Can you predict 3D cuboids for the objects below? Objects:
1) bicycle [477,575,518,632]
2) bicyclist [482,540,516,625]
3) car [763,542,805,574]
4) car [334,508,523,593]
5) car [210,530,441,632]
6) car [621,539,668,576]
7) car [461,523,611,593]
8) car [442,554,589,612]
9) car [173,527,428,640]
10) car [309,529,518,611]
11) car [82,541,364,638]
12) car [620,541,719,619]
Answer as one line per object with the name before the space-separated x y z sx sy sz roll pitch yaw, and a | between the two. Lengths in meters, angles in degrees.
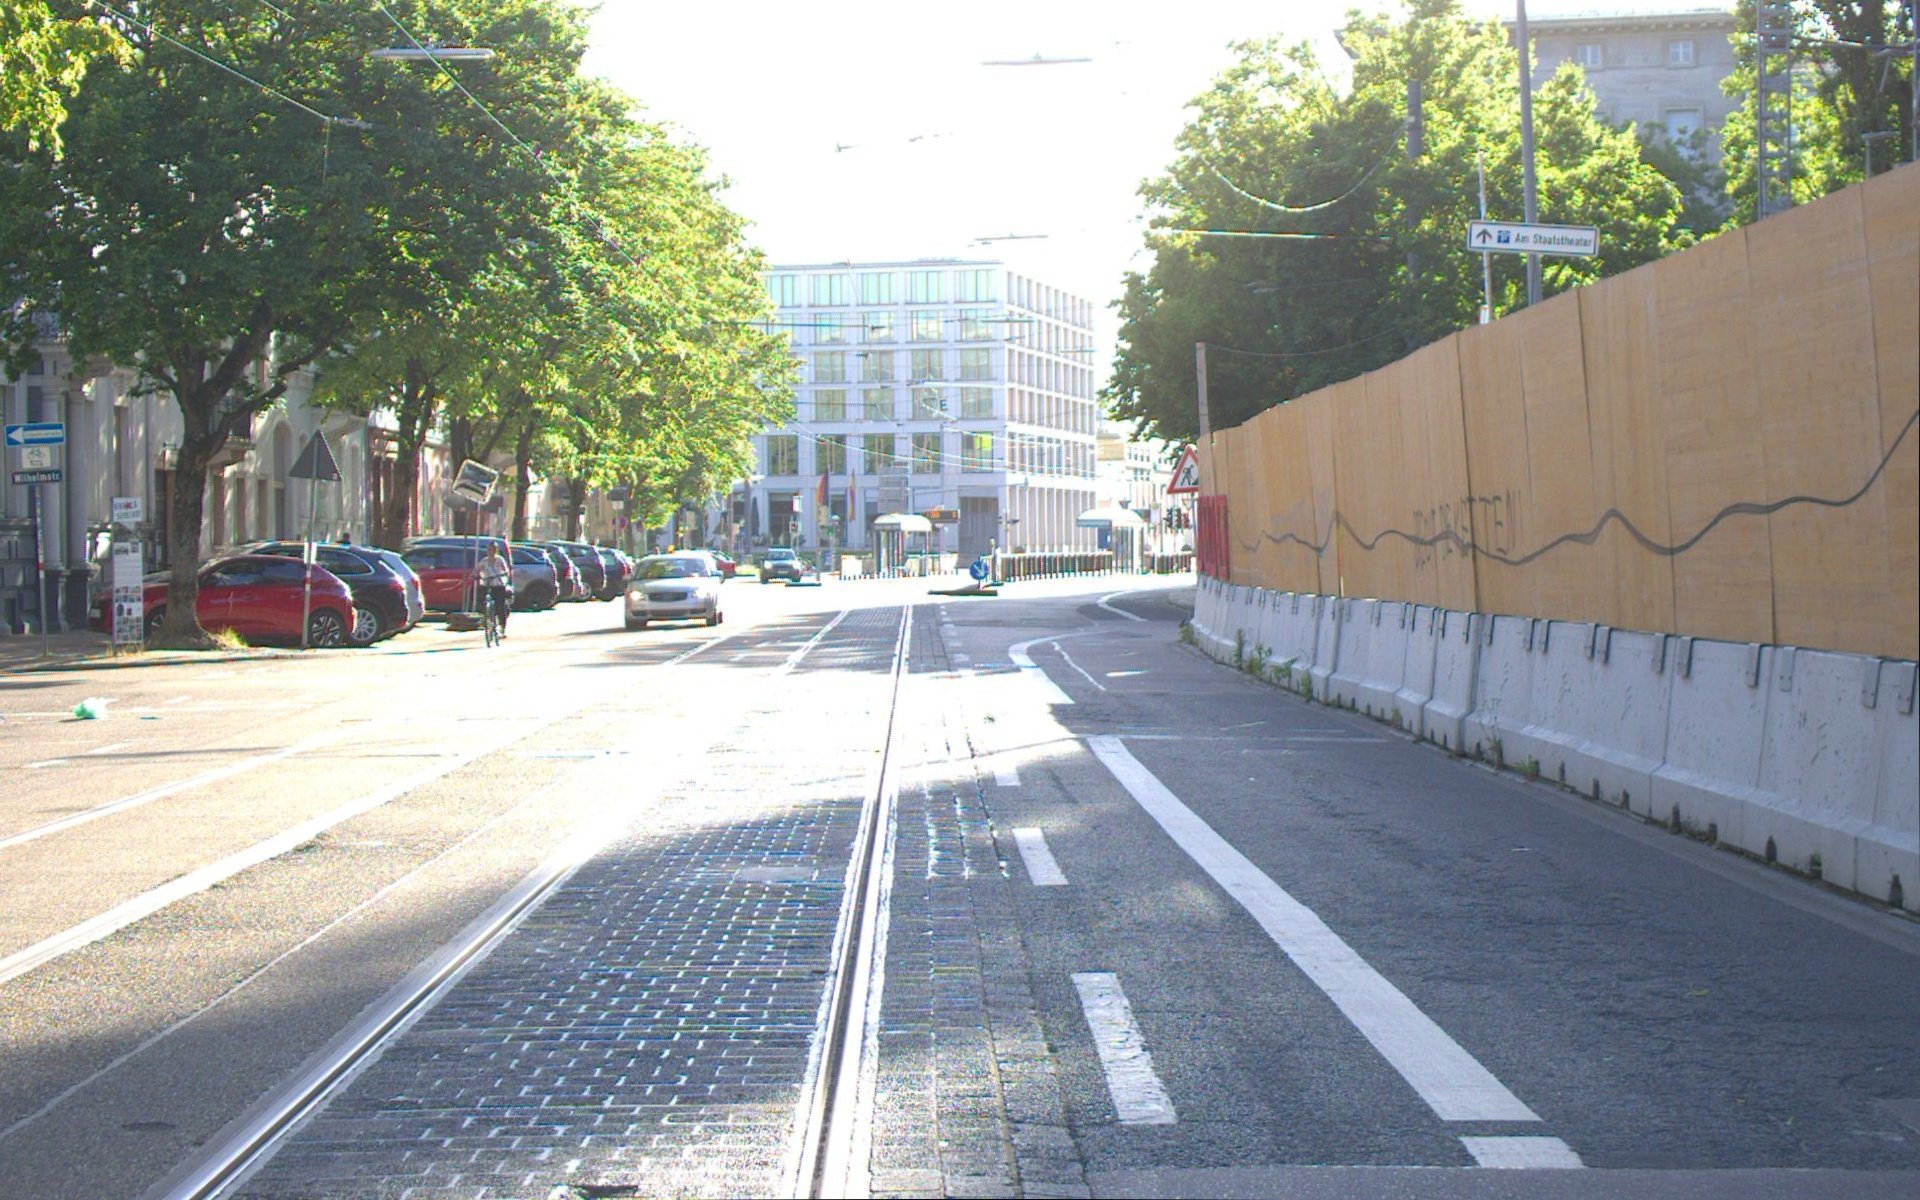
bicycle | -7.517 0.048 55.909 0.449 0.878 1.901 -1 1 -2
bicyclist | -7.510 -0.288 56.004 0.457 1.373 0.641 -1 1 -2
car | -8.514 -2.046 166.338 1.558 1.525 4.000 -1 1 4
car | -11.949 -1.102 77.326 3.828 1.826 1.732 0 0 -30
car | -11.269 -0.353 61.147 3.674 1.715 1.611 -2 1 -35
car | -13.023 -1.769 141.989 1.573 1.485 4.000 -2 1 0
car | -10.391 -1.036 84.259 3.372 1.692 1.405 -1 1 -28
car | -11.132 -0.433 86.151 3.372 1.415 1.405 -1 1 -28
car | -10.601 -0.290 55.346 3.674 1.715 1.611 -2 1 -35
car | -11.777 -0.671 74.121 4.159 1.715 1.584 -1 1 -28
car | -11.312 -0.152 52.869 3.901 1.448 1.638 0 0 -34
car | -5.645 -0.416 67.075 1.709 1.431 4.171 -1 1 -2
